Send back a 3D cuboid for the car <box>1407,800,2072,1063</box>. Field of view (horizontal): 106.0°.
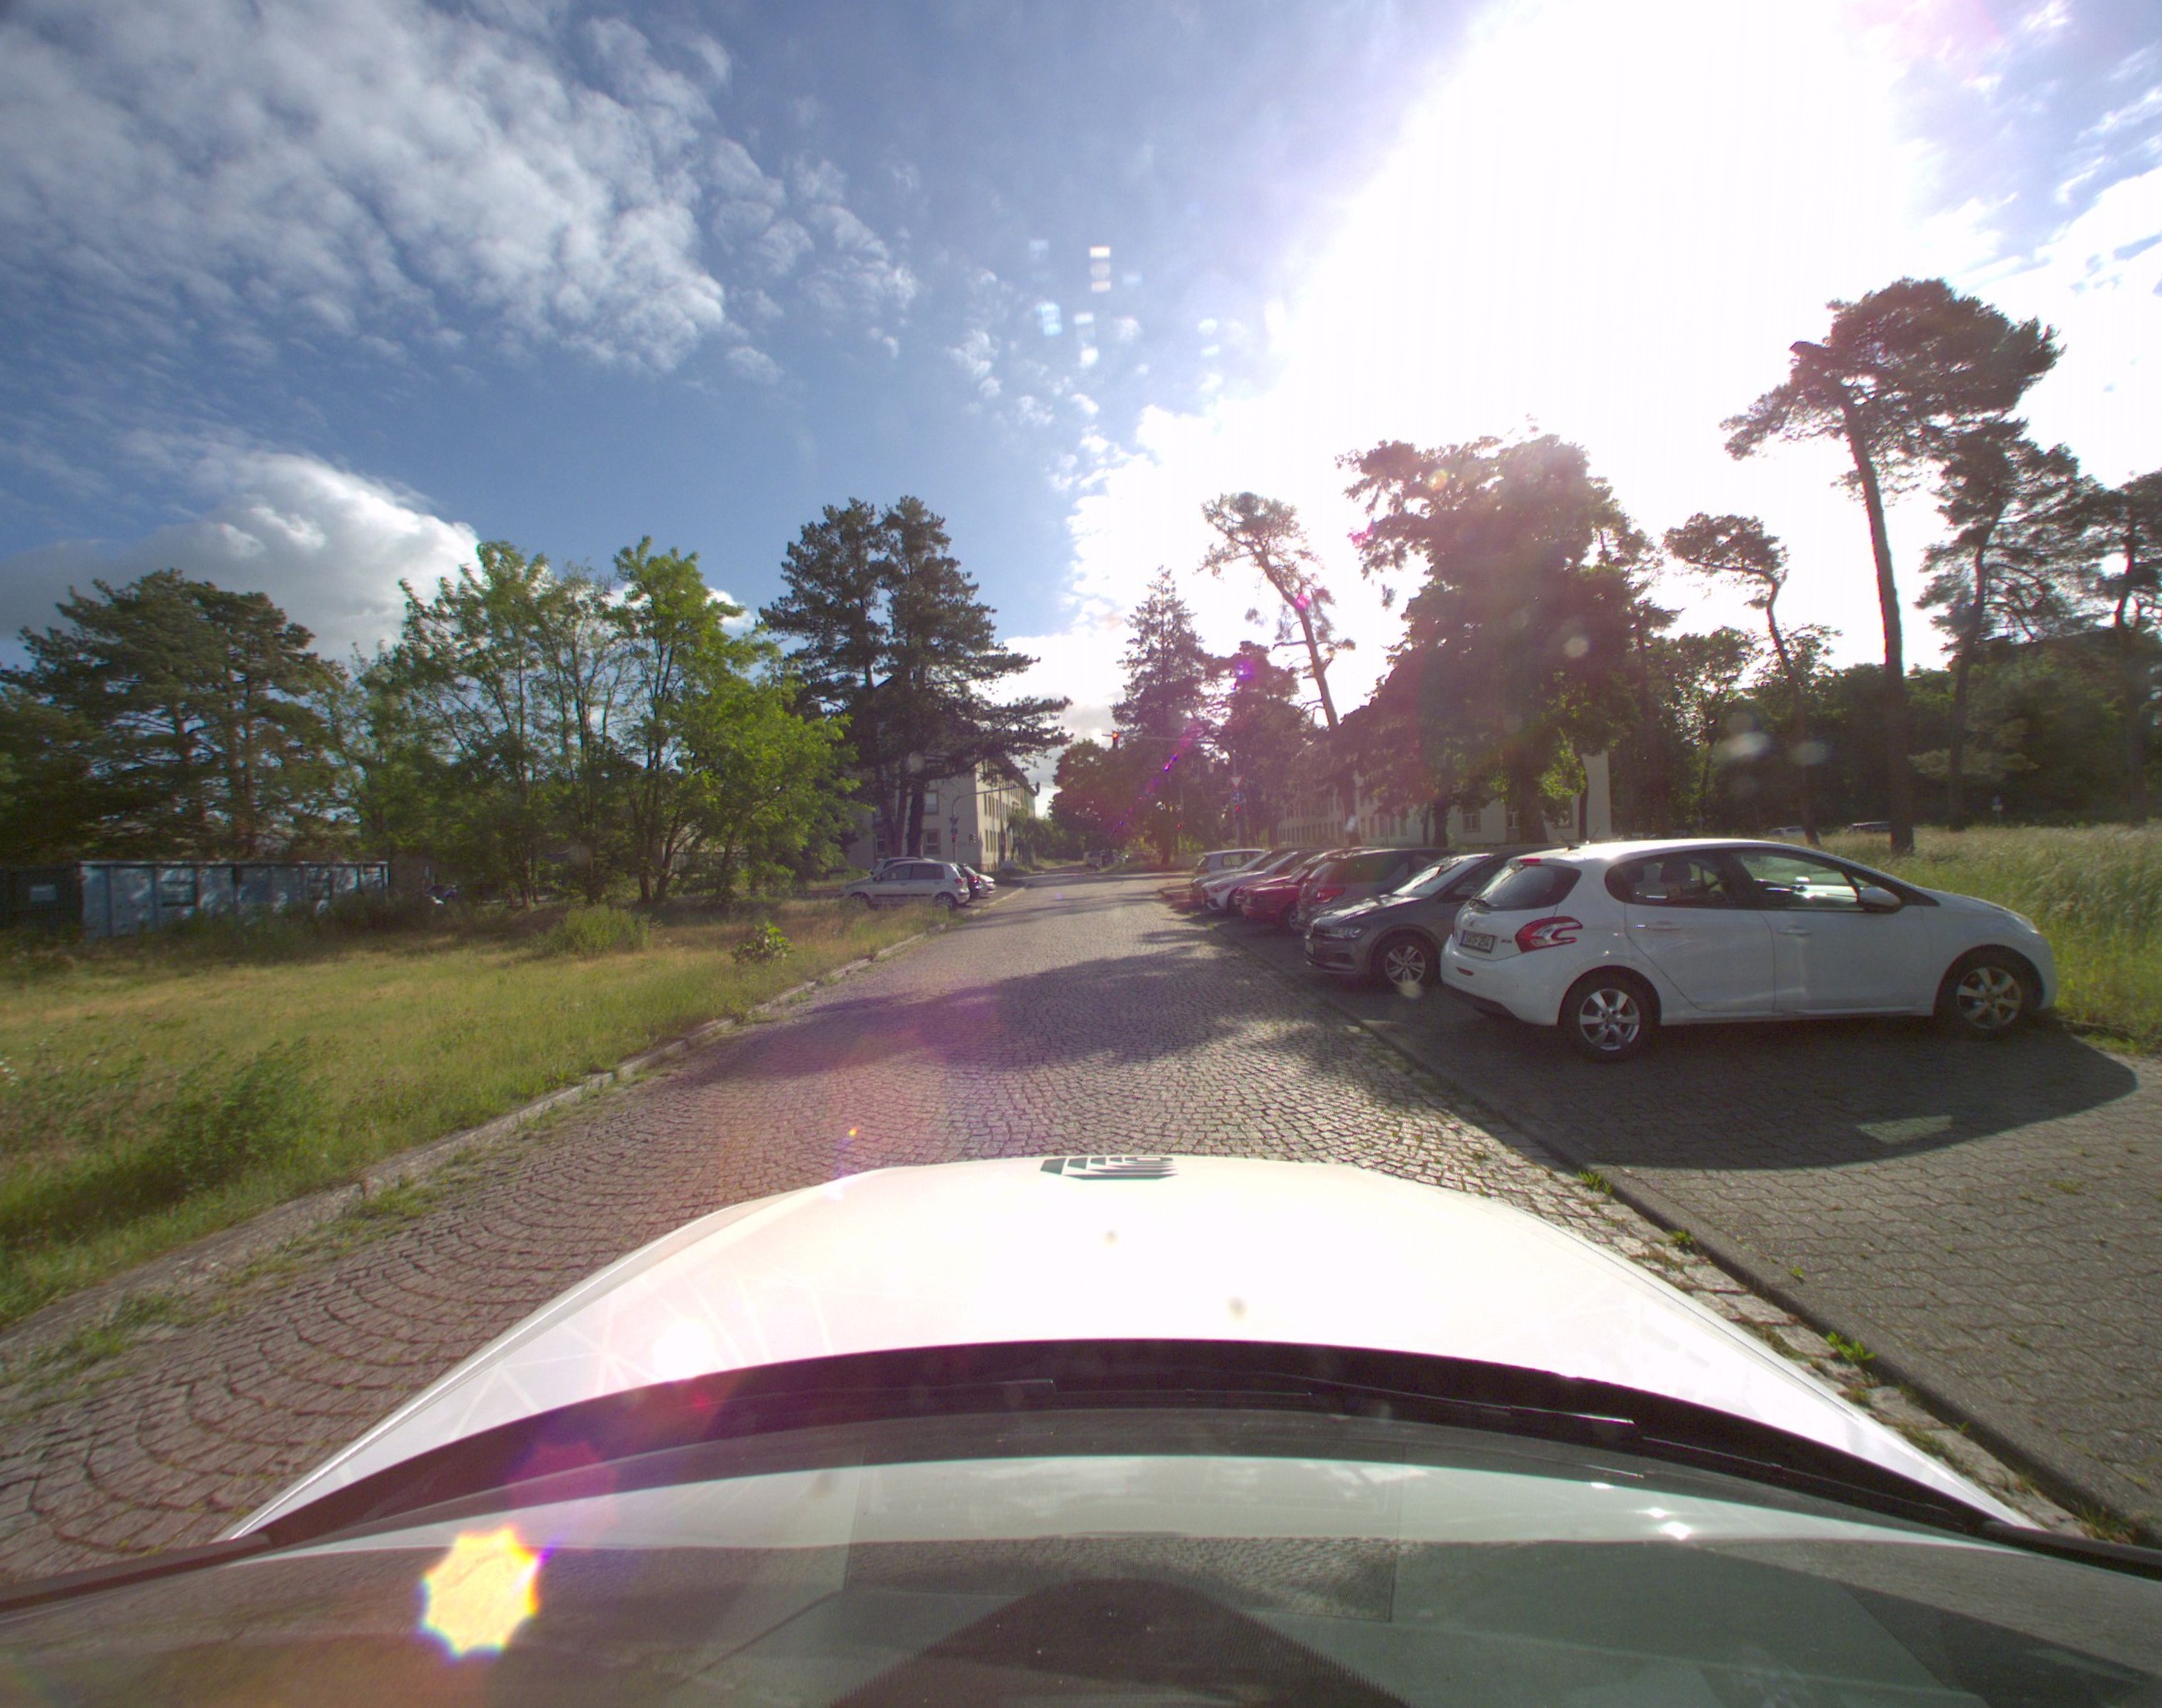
[{"bbox_3d":[4.782,0.521,6.376,3.693,1.534,1.762,-4,0,1],"label":"car"}]

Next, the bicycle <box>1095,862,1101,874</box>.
[{"bbox_3d":[1.441,1.168,70.068,0.466,1.010,1.584,0,-1,-2],"label":"bicycle"}]

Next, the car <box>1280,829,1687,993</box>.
[{"bbox_3d":[4.367,0.584,9.329,3.693,1.449,1.857,-4,0,1],"label":"car"}]

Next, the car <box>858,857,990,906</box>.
[{"bbox_3d":[-5.051,0.869,26.578,3.976,1.480,1.802,0,0,-2],"label":"car"}]

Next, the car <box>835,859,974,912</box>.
[{"bbox_3d":[-5.123,0.900,23.975,3.736,1.487,1.644,0,0,-2],"label":"car"}]

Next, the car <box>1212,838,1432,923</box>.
[{"bbox_3d":[4.973,0.531,17.193,4.112,1.449,1.637,-4,0,1],"label":"car"}]

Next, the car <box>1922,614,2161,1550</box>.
[{"bbox_3d":[4.524,0.337,1.066,4.682,1.935,2.000,-4,0,0],"label":"car"}]

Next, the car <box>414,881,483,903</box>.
[{"bbox_3d":[-47.085,2.805,60.734,1.895,1.433,4.002,-2,-1,2],"label":"car"}]

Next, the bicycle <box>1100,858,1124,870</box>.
[{"bbox_3d":[2.786,0.911,73.681,2.107,1.010,0.619,0,-1,-7],"label":"bicycle"}]

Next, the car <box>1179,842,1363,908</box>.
[{"bbox_3d":[5.045,0.540,21.992,4.543,1.415,1.637,-4,0,1],"label":"car"}]

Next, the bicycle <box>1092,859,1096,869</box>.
[{"bbox_3d":[1.358,0.990,83.355,0.416,1.010,1.484,0,-1,2],"label":"bicycle"}]

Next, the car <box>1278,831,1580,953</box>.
[{"bbox_3d":[5.035,0.518,12.190,3.694,1.449,1.817,-4,0,1],"label":"car"}]

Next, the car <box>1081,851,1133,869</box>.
[{"bbox_3d":[2.965,0.637,91.754,5.535,2.014,1.988,0,-1,-17],"label":"car"}]

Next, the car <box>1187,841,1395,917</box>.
[{"bbox_3d":[4.852,0.559,19.278,4.416,1.415,1.781,-4,0,1],"label":"car"}]

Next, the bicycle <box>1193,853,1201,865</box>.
[{"bbox_3d":[8.745,0.382,61.513,0.300,0.961,1.584,0,-1,-2],"label":"bicycle"}]

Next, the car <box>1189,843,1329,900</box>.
[{"bbox_3d":[5.351,0.501,24.769,3.868,1.415,1.637,-4,0,1],"label":"car"}]

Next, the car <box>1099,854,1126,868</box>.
[{"bbox_3d":[3.425,0.723,88.155,2.776,1.467,1.669,0,-1,-4],"label":"car"}]

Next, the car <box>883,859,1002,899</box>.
[{"bbox_3d":[-5.328,0.942,31.791,4.322,1.468,1.829,0,0,-2],"label":"car"}]

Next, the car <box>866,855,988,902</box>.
[{"bbox_3d":[-5.514,0.860,29.540,4.070,1.593,1.884,0,0,-2],"label":"car"}]

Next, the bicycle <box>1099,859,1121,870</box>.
[{"bbox_3d":[2.657,0.931,75.396,2.002,1.010,0.630,0,-1,-7],"label":"bicycle"}]

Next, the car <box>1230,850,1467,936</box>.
[{"bbox_3d":[4.724,0.662,14.795,3.693,1.223,1.747,-4,0,1],"label":"car"}]
